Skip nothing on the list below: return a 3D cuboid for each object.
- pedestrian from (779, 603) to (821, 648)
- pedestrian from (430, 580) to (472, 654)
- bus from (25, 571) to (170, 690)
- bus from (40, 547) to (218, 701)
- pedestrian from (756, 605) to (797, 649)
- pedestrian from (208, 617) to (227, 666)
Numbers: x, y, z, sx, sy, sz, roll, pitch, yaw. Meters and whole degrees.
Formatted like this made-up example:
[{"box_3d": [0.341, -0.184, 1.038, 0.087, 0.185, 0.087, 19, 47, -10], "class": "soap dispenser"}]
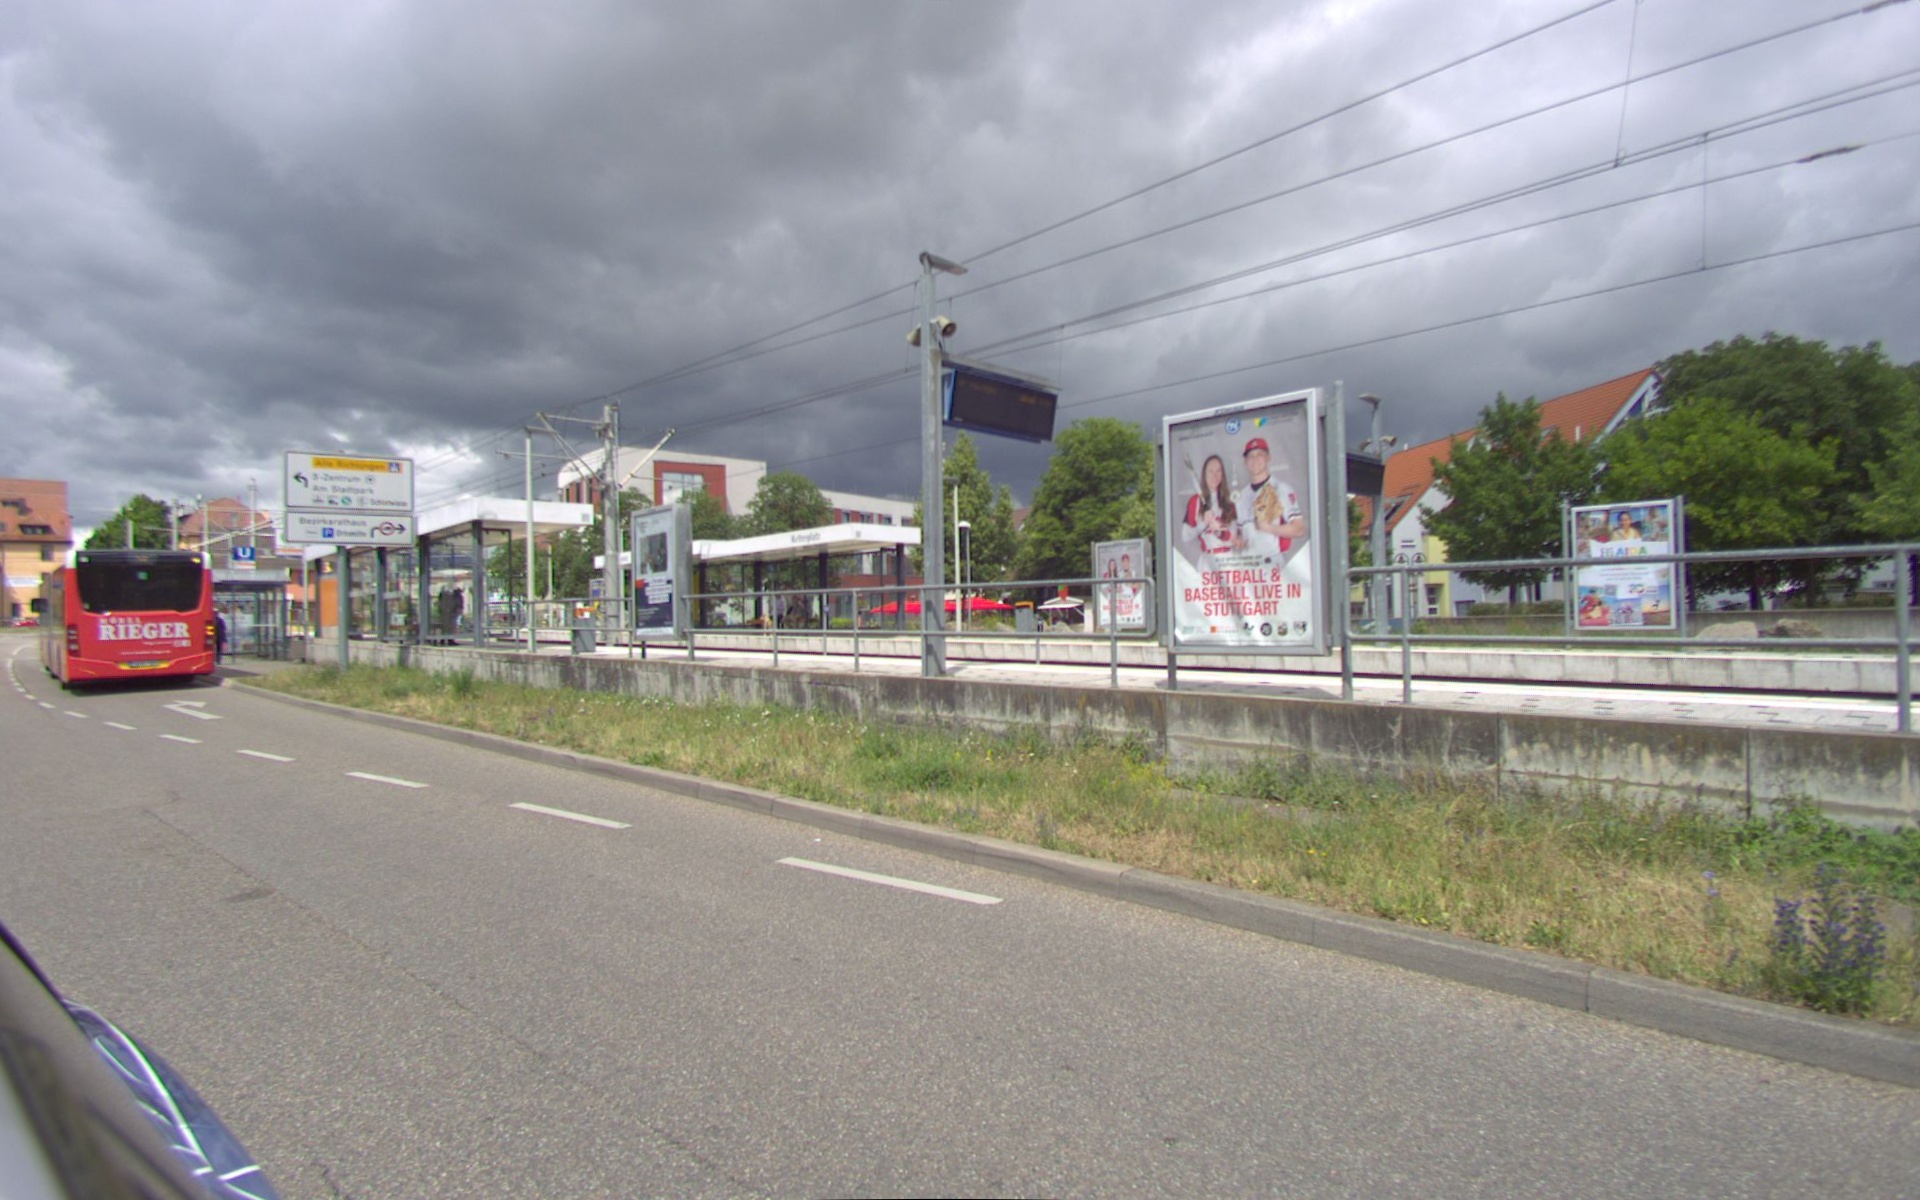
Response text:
[{"box_3d": [-4.742, 0.755, 29.944, 0.748, 1.302, 1.113, 1, -3, -43], "class": "pedestrian"}, {"box_3d": [-11.764, 0.406, 23.375, 0.679, 1.669, 0.701, 0, -3, -44], "class": "pedestrian"}, {"box_3d": [-26.782, 0.870, 31.201, 2.695, 3.133, 9.709, 0, -1, -45], "class": "bus"}, {"box_3d": [-20.308, 0.659, 24.491, 2.694, 3.093, 8.970, 0, -2, -43], "class": "bus"}, {"box_3d": [-5.590, 0.819, 30.808, 0.748, 1.302, 1.113, 1, -3, -43], "class": "pedestrian"}, {"box_3d": [-21.732, 1.217, 29.623, 0.416, 1.414, 0.409, 0, -3, -32], "class": "pedestrian"}]
